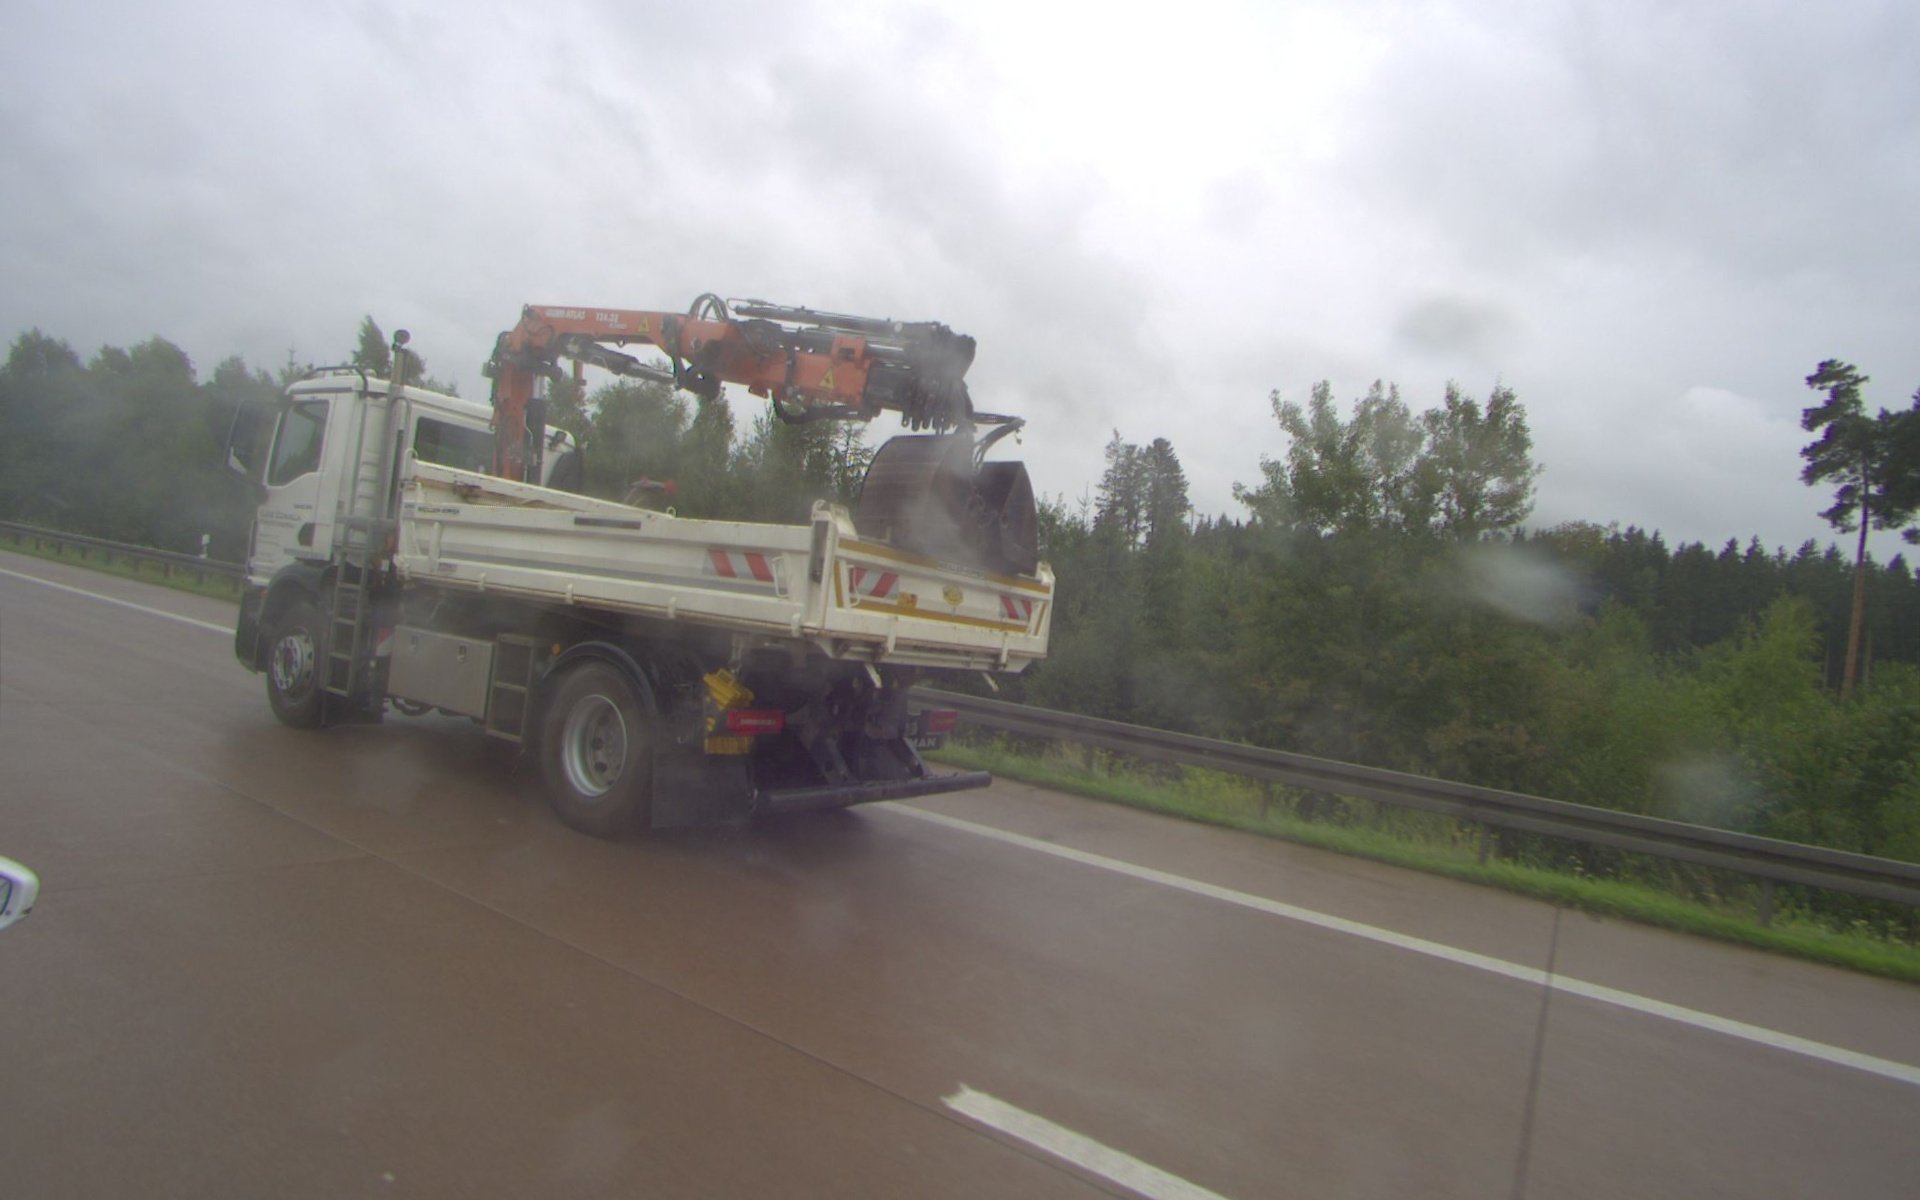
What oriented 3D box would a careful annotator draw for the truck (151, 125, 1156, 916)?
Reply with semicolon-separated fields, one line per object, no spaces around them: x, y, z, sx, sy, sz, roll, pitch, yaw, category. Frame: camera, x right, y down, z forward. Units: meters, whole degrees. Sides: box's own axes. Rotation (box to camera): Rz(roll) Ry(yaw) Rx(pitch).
-2.886;-0.604;8.256;7.824;3.773;3.239;7;-1;33;truck
